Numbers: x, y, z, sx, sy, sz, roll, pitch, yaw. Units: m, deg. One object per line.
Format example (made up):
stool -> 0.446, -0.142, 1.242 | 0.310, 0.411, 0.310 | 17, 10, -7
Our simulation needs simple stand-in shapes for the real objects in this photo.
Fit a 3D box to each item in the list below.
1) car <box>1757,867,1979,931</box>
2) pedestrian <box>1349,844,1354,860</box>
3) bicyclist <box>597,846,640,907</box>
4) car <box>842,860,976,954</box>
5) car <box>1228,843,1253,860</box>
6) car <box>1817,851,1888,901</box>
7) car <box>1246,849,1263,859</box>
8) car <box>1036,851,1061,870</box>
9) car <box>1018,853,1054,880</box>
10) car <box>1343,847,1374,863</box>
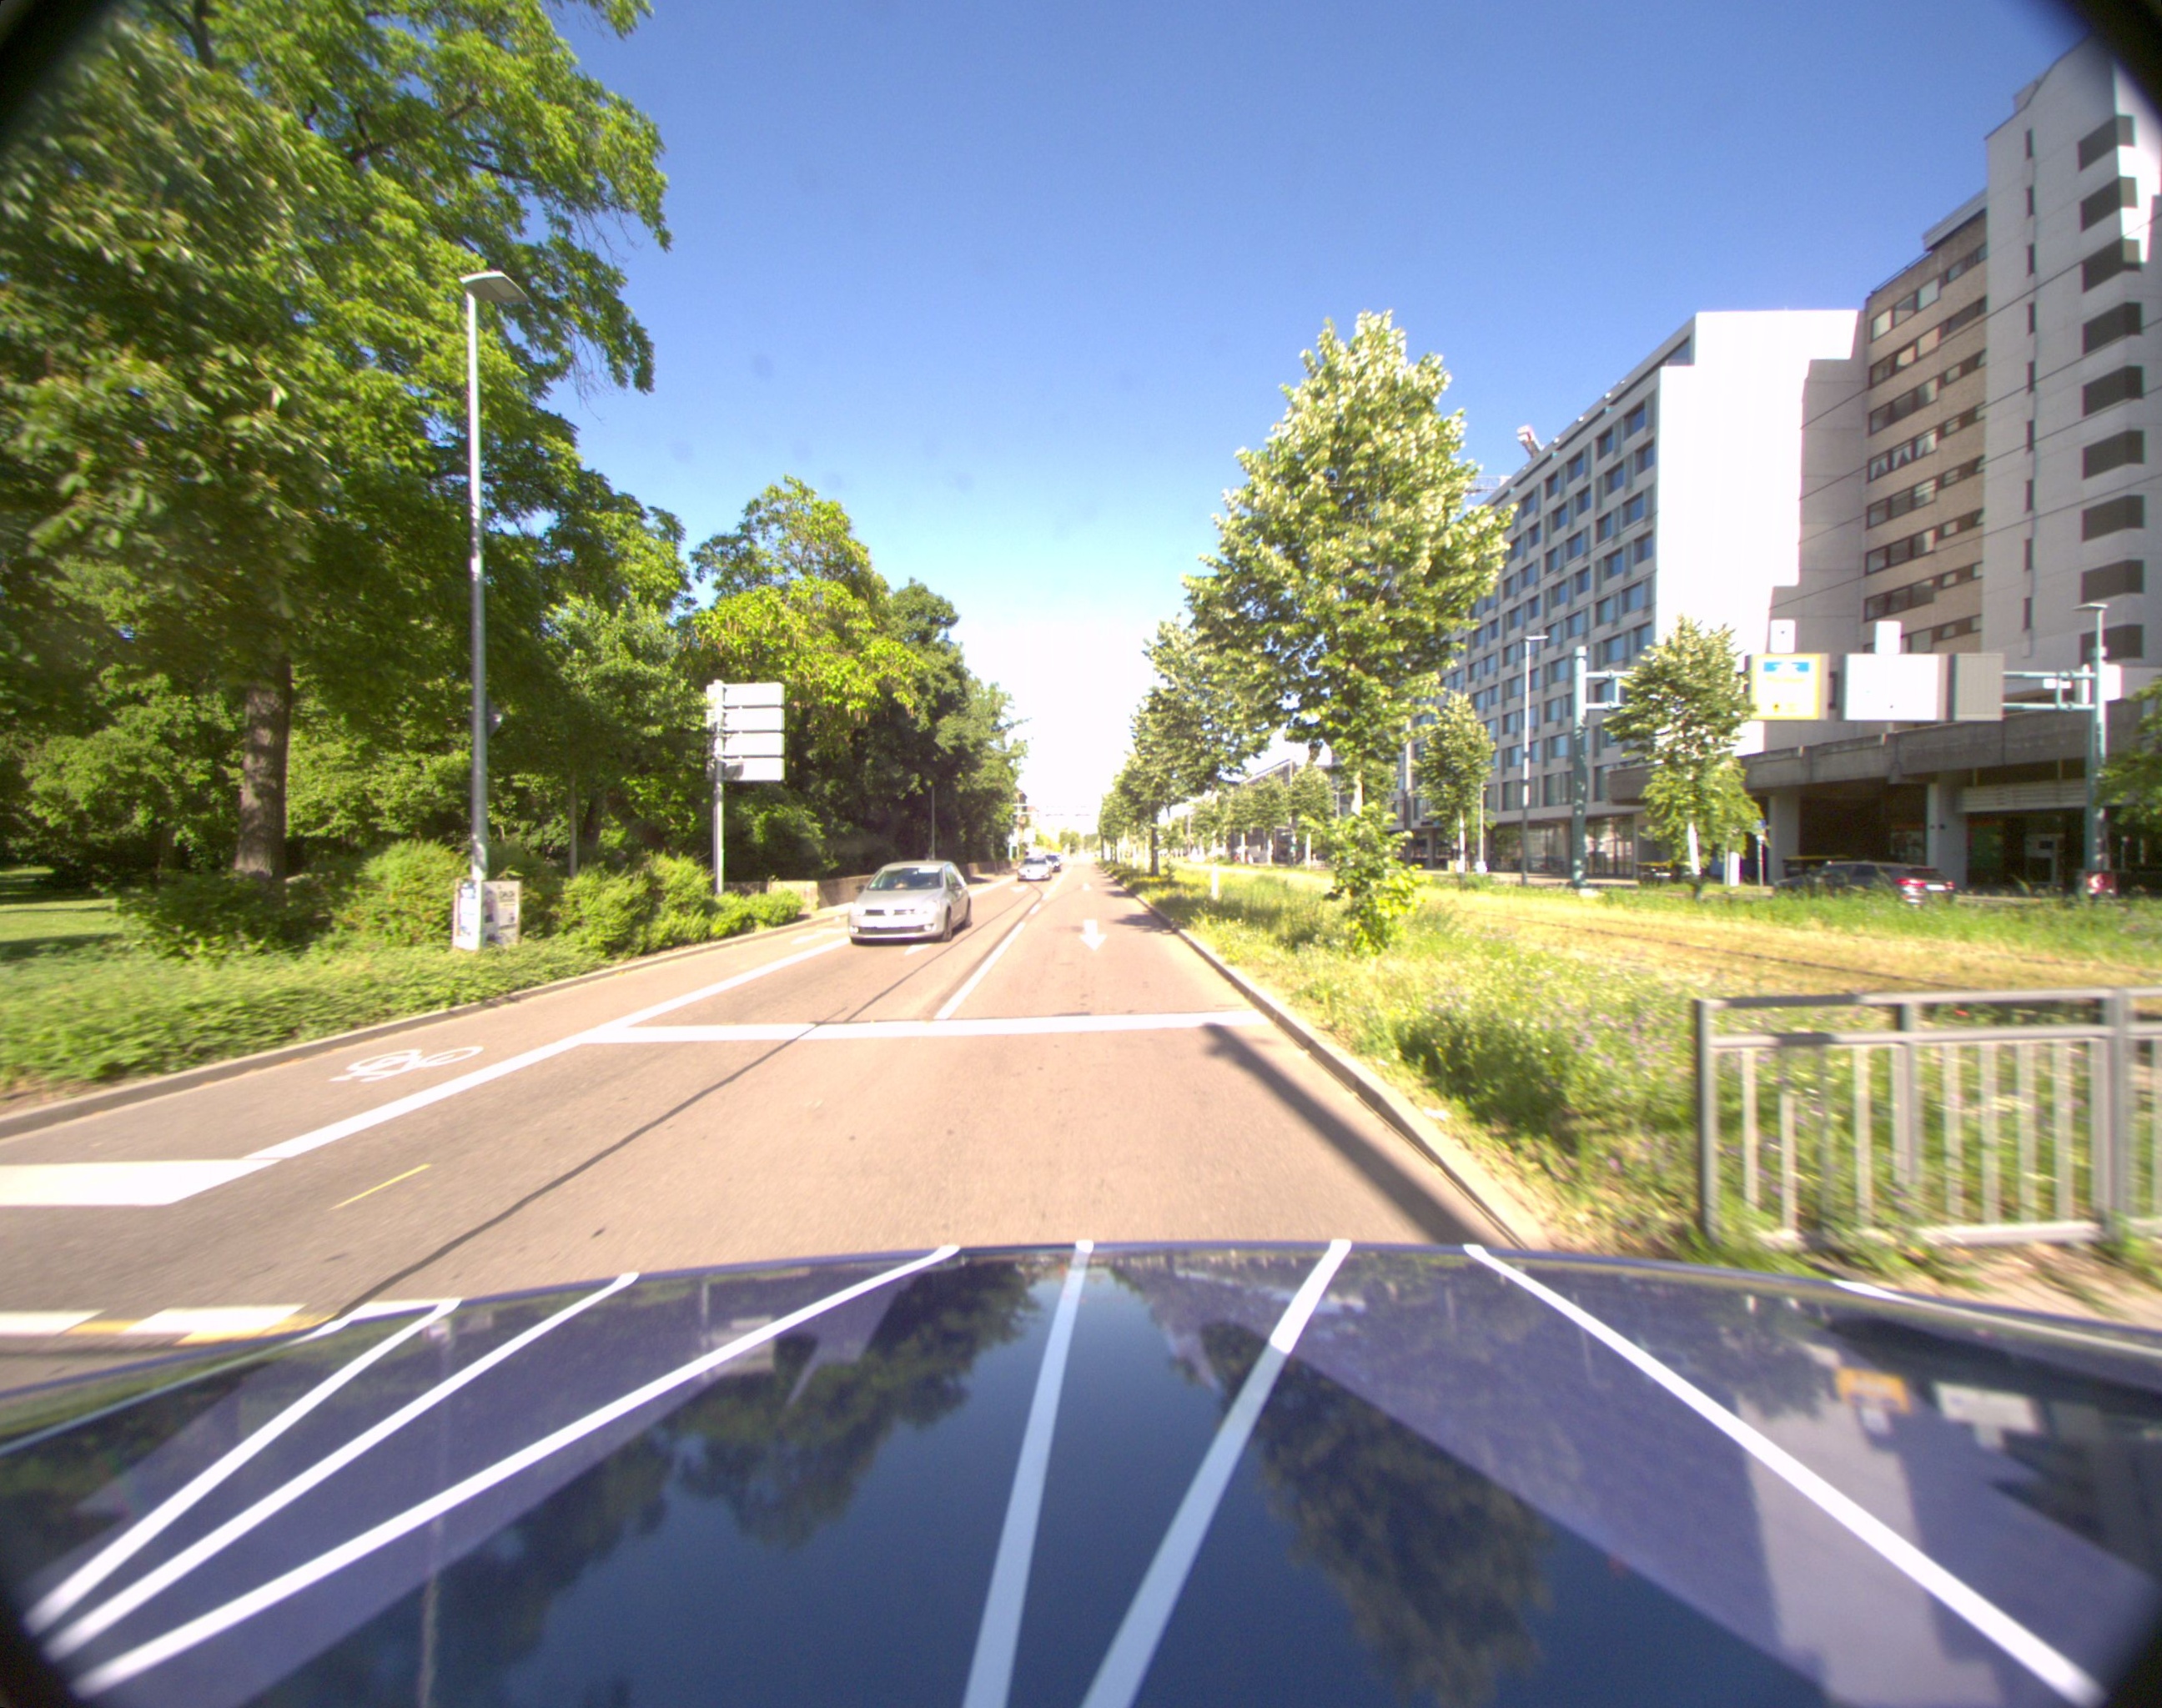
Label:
car -> 23.499, 1.266, 23.000 | 1.999, 1.569, 4.505 | -1, 1, -1
pedestrian -> 31.086, -0.284, 87.329 | 0.509, 1.830, 0.515 | -1, 1, 12
bicyclist -> -11.658, 0.555, 19.154 | 0.688, 1.498, 0.570 | -1, 1, 0
car -> -3.169, 0.903, 14.813 | 1.703, 1.466, 3.999 | -1, 1, 0
car -> 17.806, -0.262, 85.113 | 1.998, 1.809, 4.285 | -1, 1, 1
car -> 29.429, 0.785, 29.069 | 1.791, 1.674, 4.008 | 0, 1, 44
car -> 26.841, -0.067, 117.629 | 1.827, 1.499, 3.812 | -1, 1, 0
car -> -2.655, 0.485, 62.245 | 1.999, 1.493, 3.998 | 0, 1, -3
car -> -2.526, 0.671, 43.876 | 1.839, 1.416, 3.999 | -1, 1, 0
car -> 28.620, 0.097, 78.544 | 1.865, 1.541, 3.772 | -1, 1, 0
